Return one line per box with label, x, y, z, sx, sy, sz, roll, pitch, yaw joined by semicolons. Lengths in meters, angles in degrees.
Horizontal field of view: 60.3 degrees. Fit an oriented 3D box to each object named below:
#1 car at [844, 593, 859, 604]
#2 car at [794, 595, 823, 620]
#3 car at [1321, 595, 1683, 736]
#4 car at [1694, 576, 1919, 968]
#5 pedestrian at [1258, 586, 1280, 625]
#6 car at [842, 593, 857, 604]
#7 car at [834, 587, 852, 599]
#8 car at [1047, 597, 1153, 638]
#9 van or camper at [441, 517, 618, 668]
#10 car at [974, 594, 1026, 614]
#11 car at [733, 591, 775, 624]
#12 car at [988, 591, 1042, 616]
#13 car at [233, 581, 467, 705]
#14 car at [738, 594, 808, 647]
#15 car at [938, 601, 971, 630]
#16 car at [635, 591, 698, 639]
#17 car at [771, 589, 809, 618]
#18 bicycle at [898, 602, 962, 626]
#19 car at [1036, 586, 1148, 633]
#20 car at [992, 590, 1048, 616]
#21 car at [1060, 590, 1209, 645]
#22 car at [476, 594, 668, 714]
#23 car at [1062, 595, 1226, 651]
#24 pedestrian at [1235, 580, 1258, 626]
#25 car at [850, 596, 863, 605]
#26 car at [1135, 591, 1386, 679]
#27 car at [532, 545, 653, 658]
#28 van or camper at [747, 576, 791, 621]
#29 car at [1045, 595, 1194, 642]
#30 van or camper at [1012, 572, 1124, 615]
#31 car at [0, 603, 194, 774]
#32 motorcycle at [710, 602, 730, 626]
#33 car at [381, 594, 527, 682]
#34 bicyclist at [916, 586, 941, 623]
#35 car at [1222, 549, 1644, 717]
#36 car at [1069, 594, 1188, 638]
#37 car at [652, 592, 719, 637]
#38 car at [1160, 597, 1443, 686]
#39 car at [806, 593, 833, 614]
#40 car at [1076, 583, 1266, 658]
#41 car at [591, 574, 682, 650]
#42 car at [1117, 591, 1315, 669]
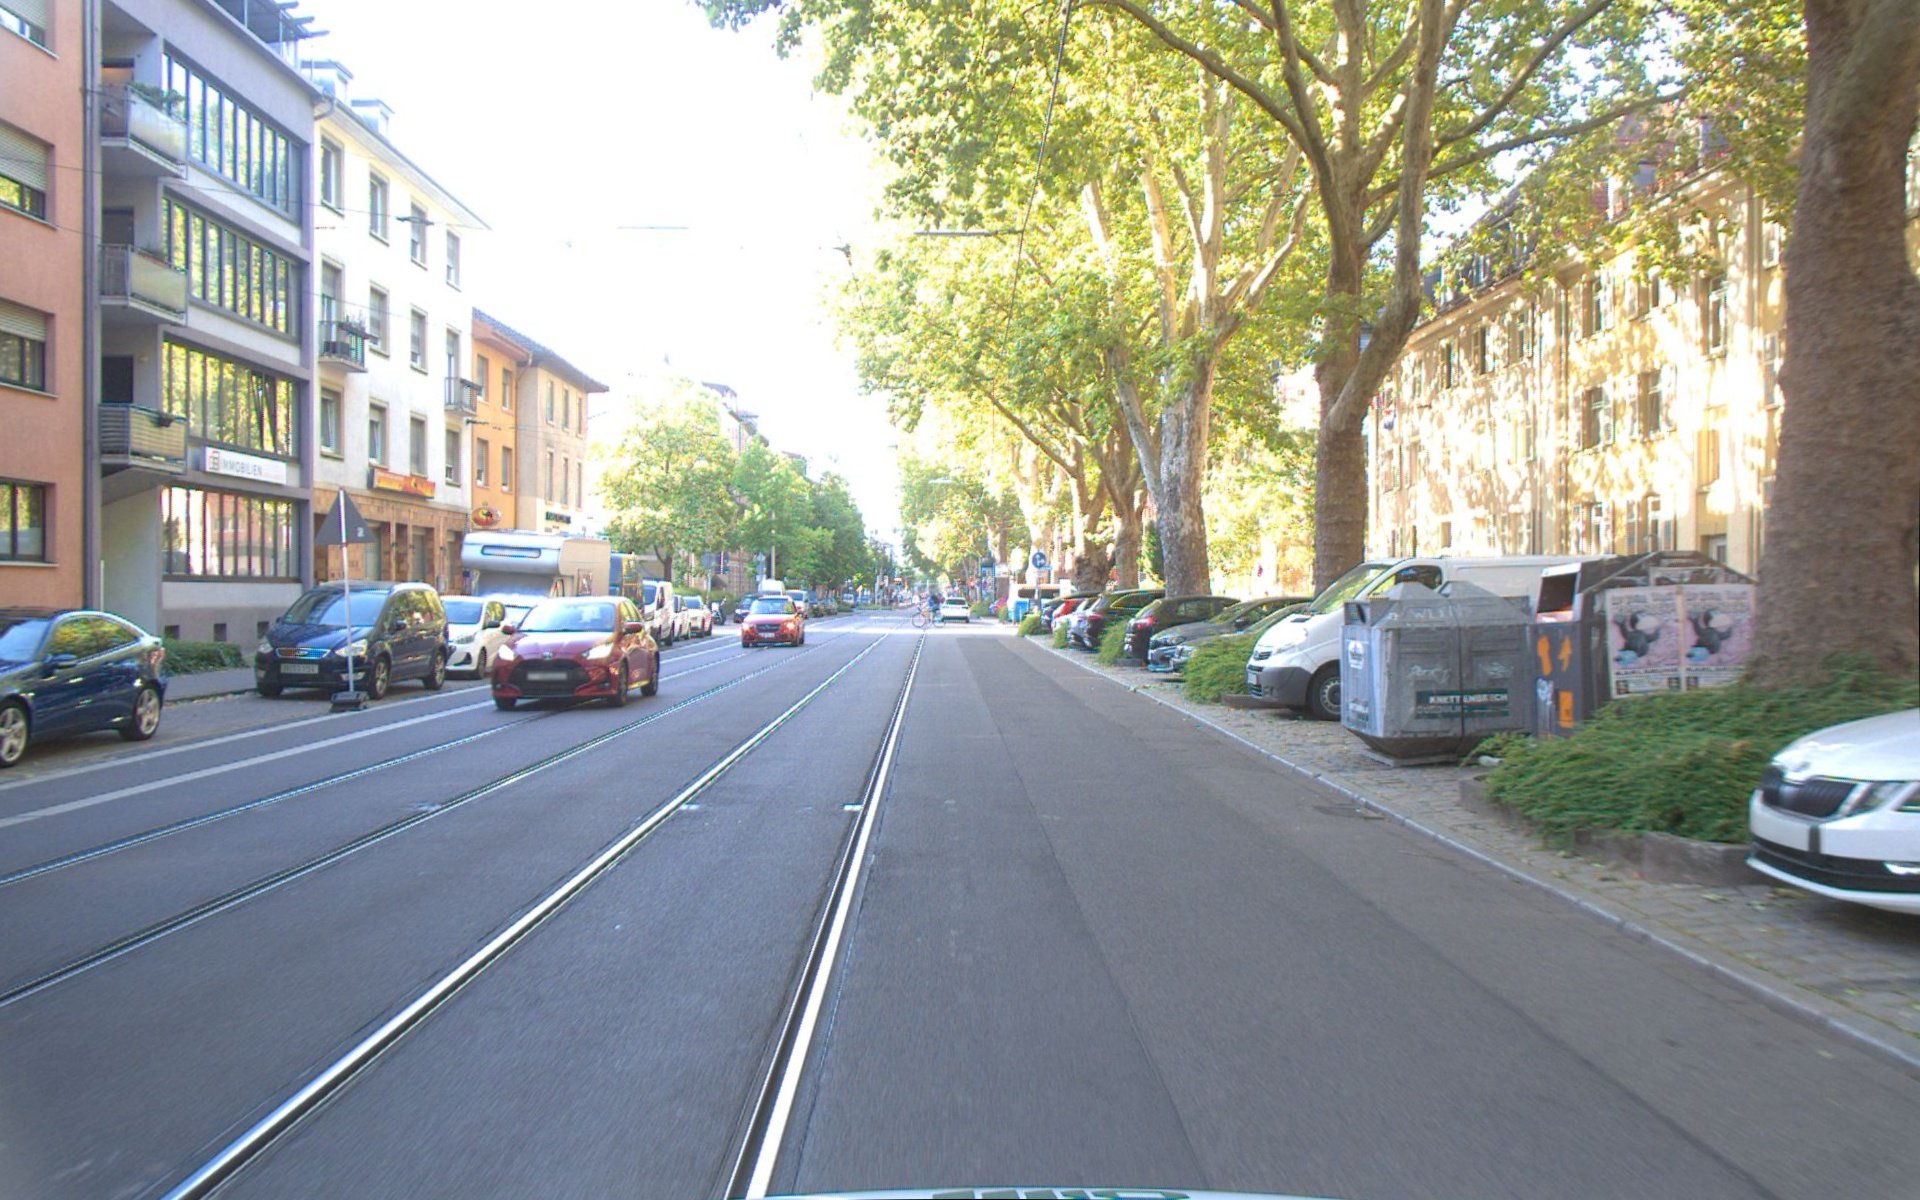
car;-14.925;-0.195;227.827;1.881;1.443;3.586;-2;-1;-6
car;-11.629;0.586;127.103;1.953;1.893;4.178;0;0;-1
car;5.932;0.688;18.352;3.456;1.472;1.672;0;0;-4
car;5.849;0.679;7.473;4.279;1.569;1.802;0;1;3
pedestrian;11.867;0.206;63.521;0.648;1.480;0.821;0;0;-1
car;-14.917;-0.196;223.581;1.880;1.443;3.588;0;0;-3
car;-13.540;-0.805;191.282;1.880;1.443;3.719;0;0;-2
car;4.897;0.607;58.106;3.575;1.402;1.889;0;0;-1
van or camper;-9.834;-0.173;38.438;2.290;3.094;6.397;3;0;0
car;3.052;0.303;126.703;3.906;1.547;2.000;0;0;-1
car;-11.045;0.376;88.789;1.751;1.614;4.342;3;0;-2
car;4.027;0.232;121.151;3.906;1.816;2.000;0;0;-1
car;-9.480;0.592;26.188;1.913;1.716;5.069;2;0;-2
car;-5.613;0.586;49.984;1.688;1.462;4.068;-1;0;-1
car;-0.335;0.902;96.892;1.879;1.612;3.790;-1;0;-1
car;-10.126;0.506;57.166;1.539;1.553;3.040;1;0;1
car;-11.553;0.210;112.690;2.129;1.893;4.658;0;0;-1
bicycle;-1.411;0.645;78.288;2.894;1.124;1.049;0;0;-11
car;4.778;0.339;60.327;3.845;1.699;1.960;0;0;-3
car;4.278;0.234;118.872;3.906;1.816;2.000;0;0;-1
car;4.950;0.495;47.311;4.057;1.535;1.796;0;0;-1
car;-5.301;0.676;23.142;1.739;1.483;4.201;-1;0;-1
car;4.948;0.599;44.847;4.209;1.464;1.947;0;0;-2
pedestrian;11.227;0.112;64.758;0.745;1.769;0.821;0;0;-1
car;-15.311;0.069;245.668;1.880;1.443;3.588;0;0;-3
car;5.356;0.608;29.835;4.161;1.509;1.897;0;0;-1
car;-9.913;0.016;45.050;2.044;2.779;5.308;3;0;-1
van or camper;-11.290;-0.087;98.019;2.037;2.577;5.317;0;0;-1
car;5.098;0.579;53.241;4.591;1.472;1.892;0;0;-1
van or camper;5.491;-0.352;84.297;5.447;2.048;2.242;0;3;-6
car;-9.430;0.794;16.396;1.703;1.425;4.381;2;0;-2
motorcycle;-12.285;0.692;84.654;0.748;1.126;2.329;0;2;-1
car;-9.687;0.680;31.931;1.676;1.514;3.860;3;0;-2
bicyclist;-1.488;0.189;78.278;1.027;1.735;1.055;0;0;-10
car;5.877;0.388;20.941;4.740;1.997;2.063;0;0;-3
car;5.645;0.527;55.705;3.803;1.460;1.753;0;0;-1
car;-10.173;0.503;61.644;1.799;1.494;5.067;3;0;-3
car;5.479;0.660;26.956;4.305;1.404;1.805;0;0;3
car;-12.141;0.292;143.019;1.953;1.775;4.658;0;0;-1
car;5.089;0.482;40.371;4.402;1.630;2.028;-2;0;3
car;-9.915;0.301;51.108;1.913;2.128;5.246;3;1;-3
car;5.183;0.585;33.739;3.760;1.536;1.710;0;0;-1
